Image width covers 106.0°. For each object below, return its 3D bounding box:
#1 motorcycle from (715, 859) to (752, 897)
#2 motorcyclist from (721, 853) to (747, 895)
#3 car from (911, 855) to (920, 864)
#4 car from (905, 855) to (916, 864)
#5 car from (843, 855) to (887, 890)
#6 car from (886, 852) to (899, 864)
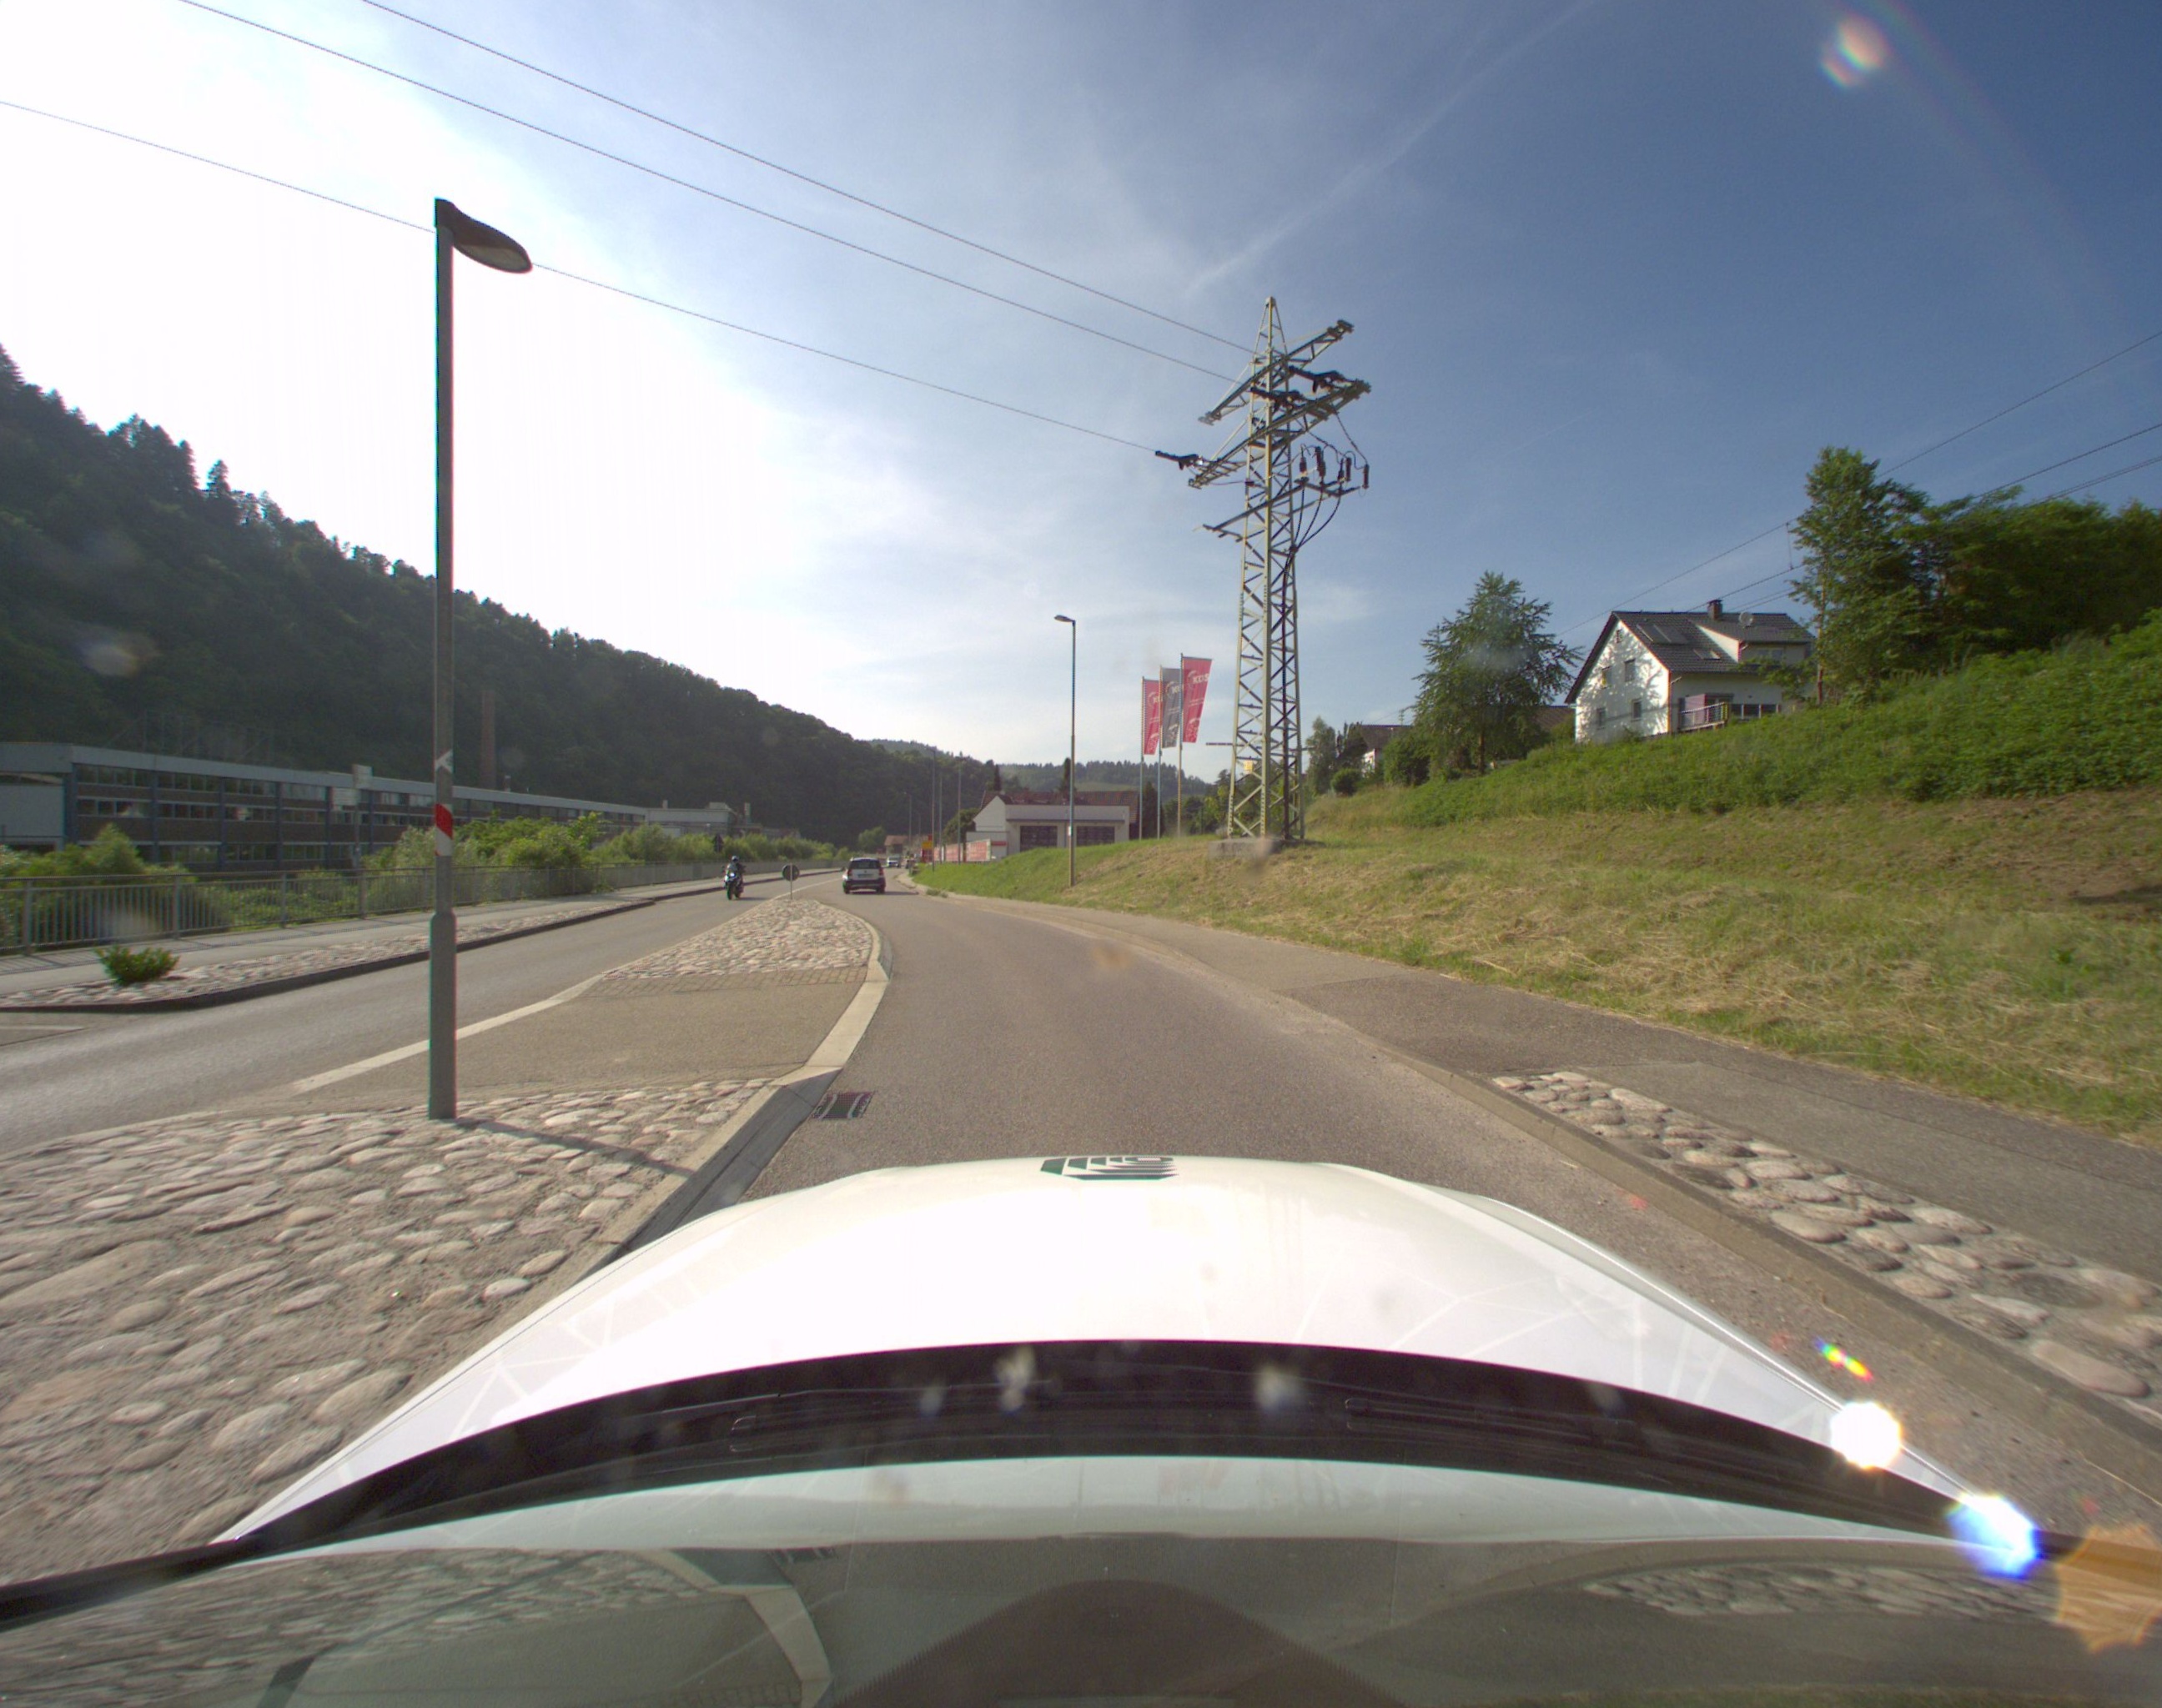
[{"bbox_3d":[-13.982,0.944,32.834,0.772,1.422,2.312,-1,0,-8],"label":"motorcycle"},{"bbox_3d":[-13.996,0.805,32.880,0.762,1.678,0.725,-1,-1,-7],"label":"motorcyclist"},{"bbox_3d":[-27.996,0.905,137.713,1.355,1.435,2.831,1,1,-7],"label":"car"},{"bbox_3d":[-26.915,0.852,128.529,1.452,1.435,2.929,1,1,-7],"label":"car"},{"bbox_3d":[-10.126,0.824,38.078,1.865,1.544,4.349,1,-1,-16],"label":"car"},{"bbox_3d":[-31.477,0.661,136.037,1.920,1.967,5.128,0,-1,-10],"label":"car"}]
